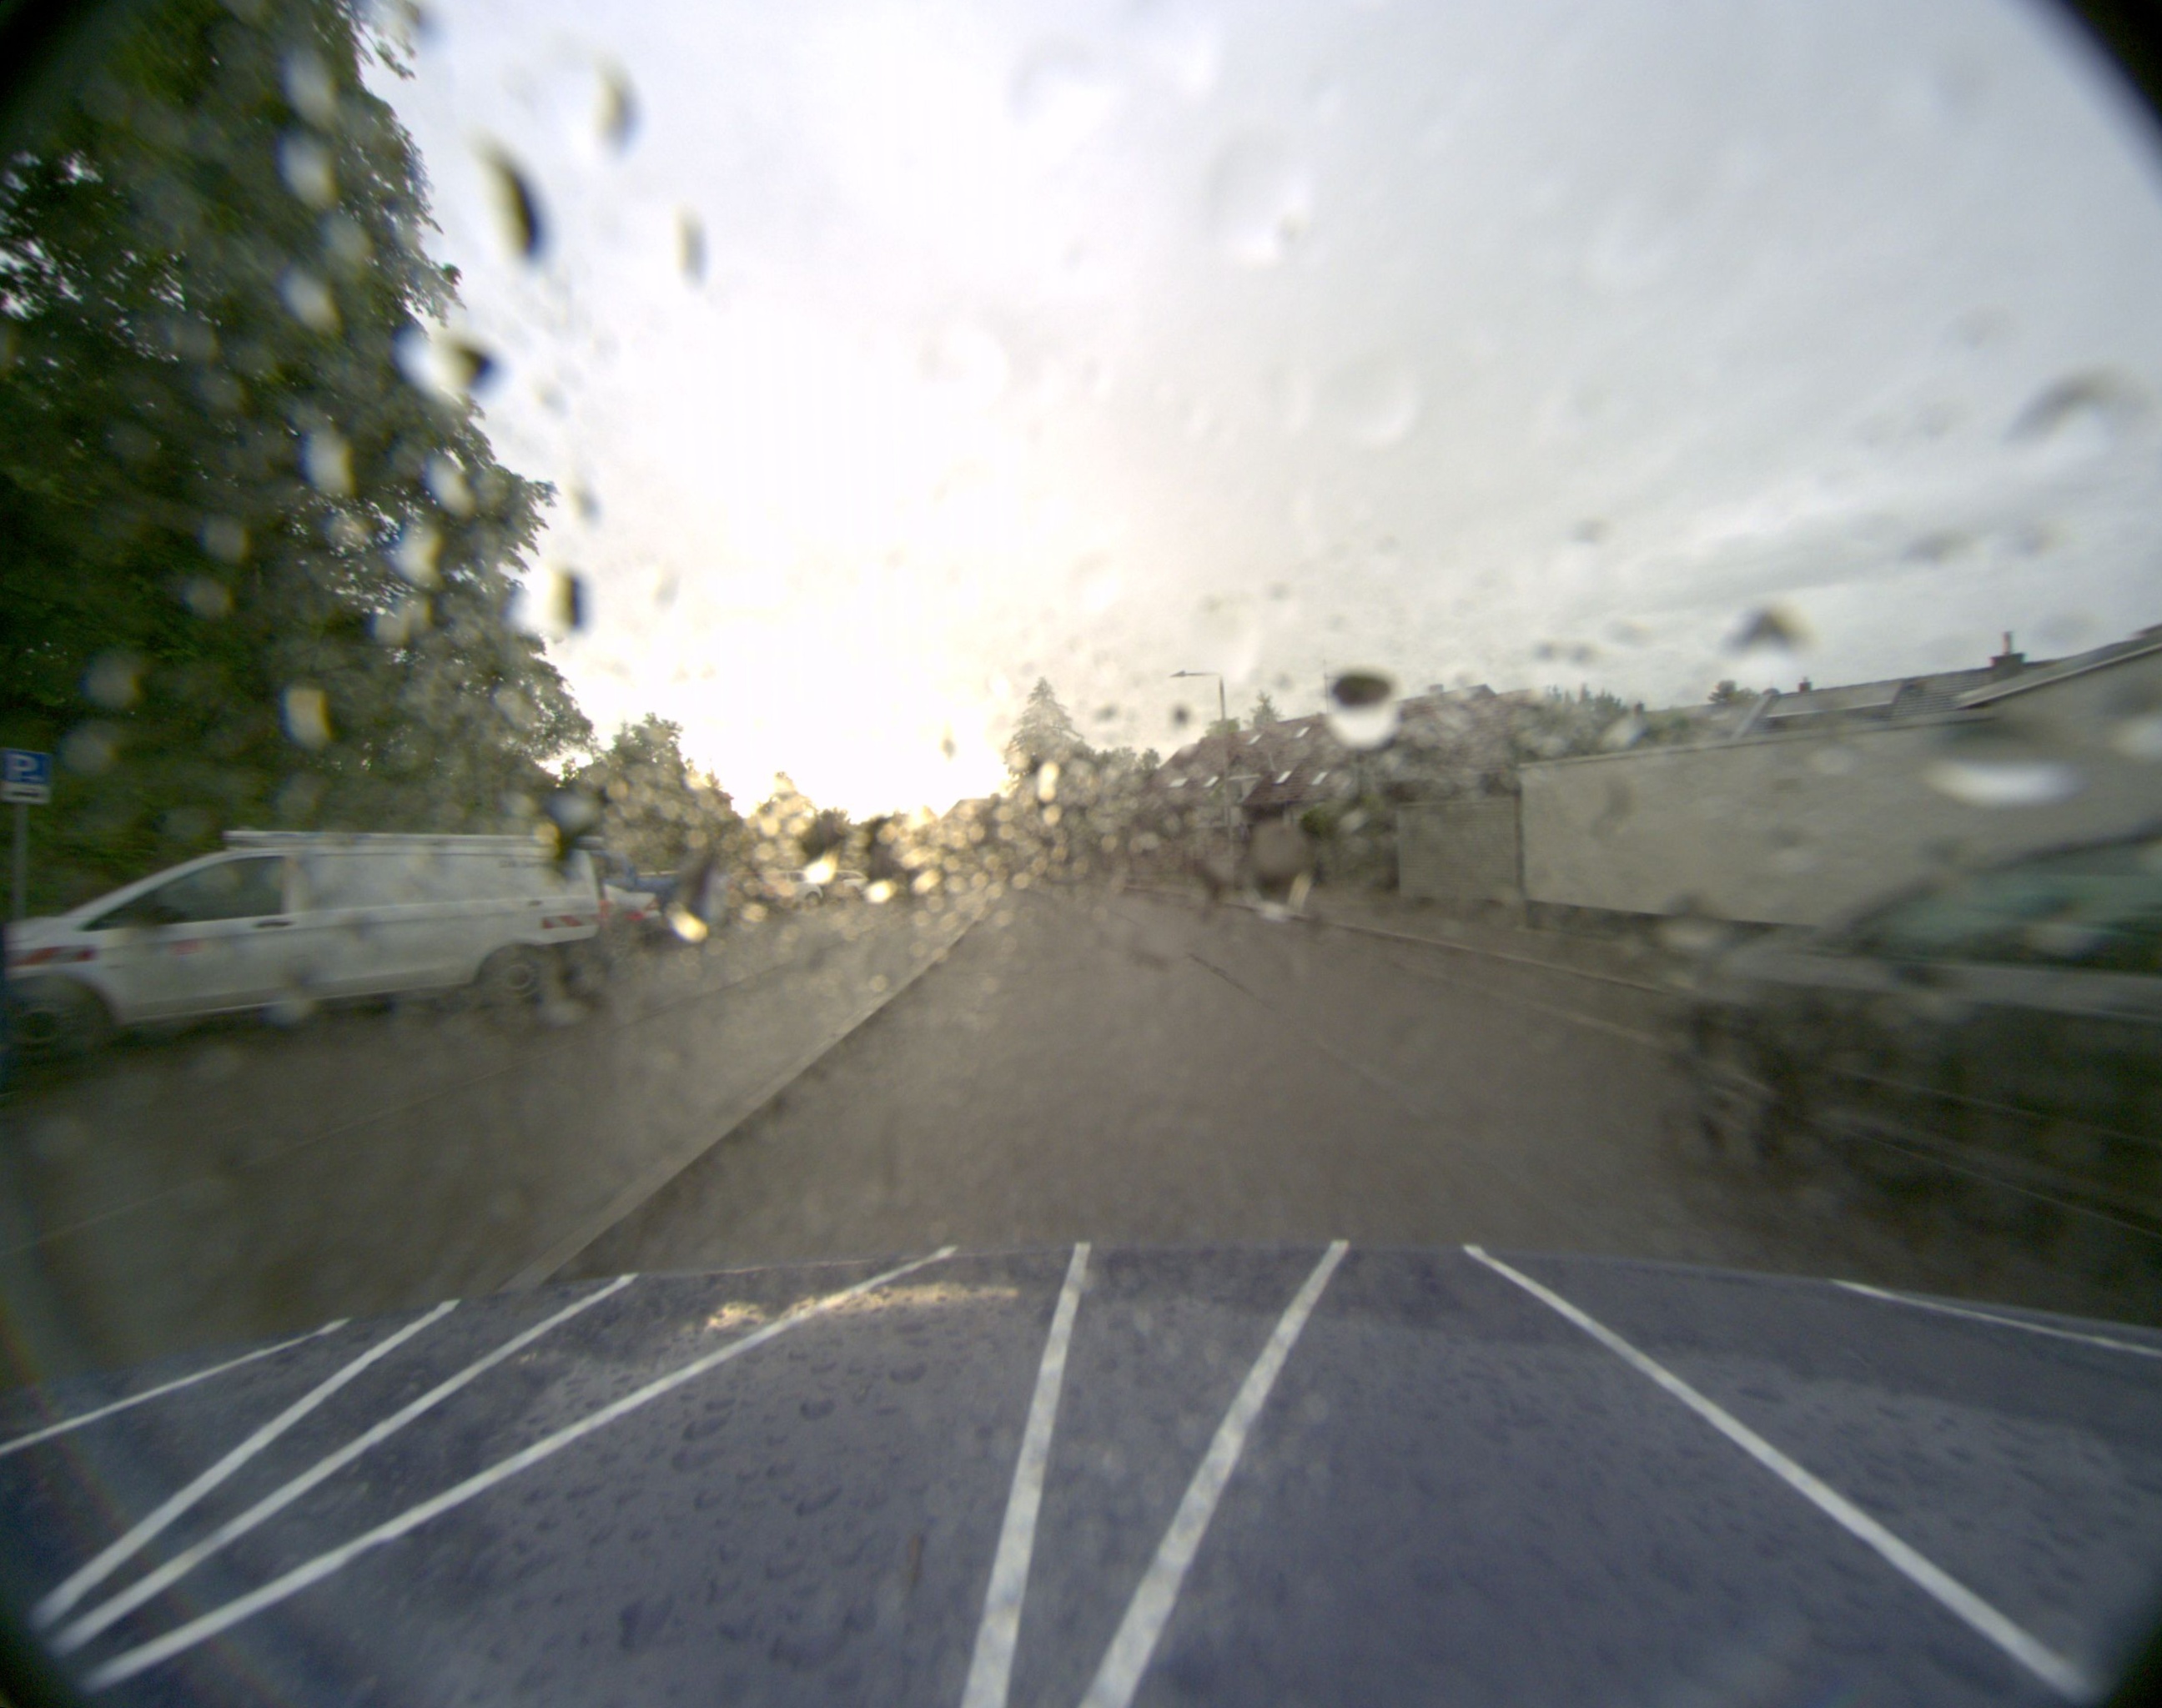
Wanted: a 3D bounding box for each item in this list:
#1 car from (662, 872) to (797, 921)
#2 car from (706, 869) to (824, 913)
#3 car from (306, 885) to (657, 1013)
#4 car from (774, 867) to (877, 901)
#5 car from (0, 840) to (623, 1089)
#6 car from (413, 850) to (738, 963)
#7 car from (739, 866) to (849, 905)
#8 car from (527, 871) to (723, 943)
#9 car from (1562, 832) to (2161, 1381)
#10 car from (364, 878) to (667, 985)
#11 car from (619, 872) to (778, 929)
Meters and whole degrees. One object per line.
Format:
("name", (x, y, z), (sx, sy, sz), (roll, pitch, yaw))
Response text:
("car", (-11.962, 1.390, 26.002), (1.713, 1.393, 3.802), (-2, 0, 45))
("car", (-12.172, 1.381, 29.460), (1.747, 1.471, 3.803), (-2, 0, 40))
("car", (-8.636, 1.231, 11.171), (1.757, 1.340, 3.803), (-2, 0, 44))
("car", (-12.340, 1.406, 36.800), (4.323, 1.455, 1.808), (-1, 0, -35))
("car", (-8.064, 0.895, 8.240), (2.151, 1.929, 4.852), (-2, 0, 44))
("car", (-10.768, 0.986, 16.549), (5.492, 1.957, 2.325), (-2, 0, -45))
("car", (-12.487, 1.356, 33.216), (4.099, 1.498, 1.747), (-1, 0, -44))
("car", (-11.484, 1.271, 19.317), (1.614, 1.478, 3.920), (-2, 0, 43))
("car", (3.970, 0.707, 2.458), (1.839, 1.503, 4.617), (-3, 0, 0))
("car", (-9.776, 1.228, 13.384), (1.622, 1.404, 4.002), (-2, 0, 42))
("car", (-11.397, 1.343, 22.810), (1.713, 1.393, 3.850), (-2, 0, 44))
